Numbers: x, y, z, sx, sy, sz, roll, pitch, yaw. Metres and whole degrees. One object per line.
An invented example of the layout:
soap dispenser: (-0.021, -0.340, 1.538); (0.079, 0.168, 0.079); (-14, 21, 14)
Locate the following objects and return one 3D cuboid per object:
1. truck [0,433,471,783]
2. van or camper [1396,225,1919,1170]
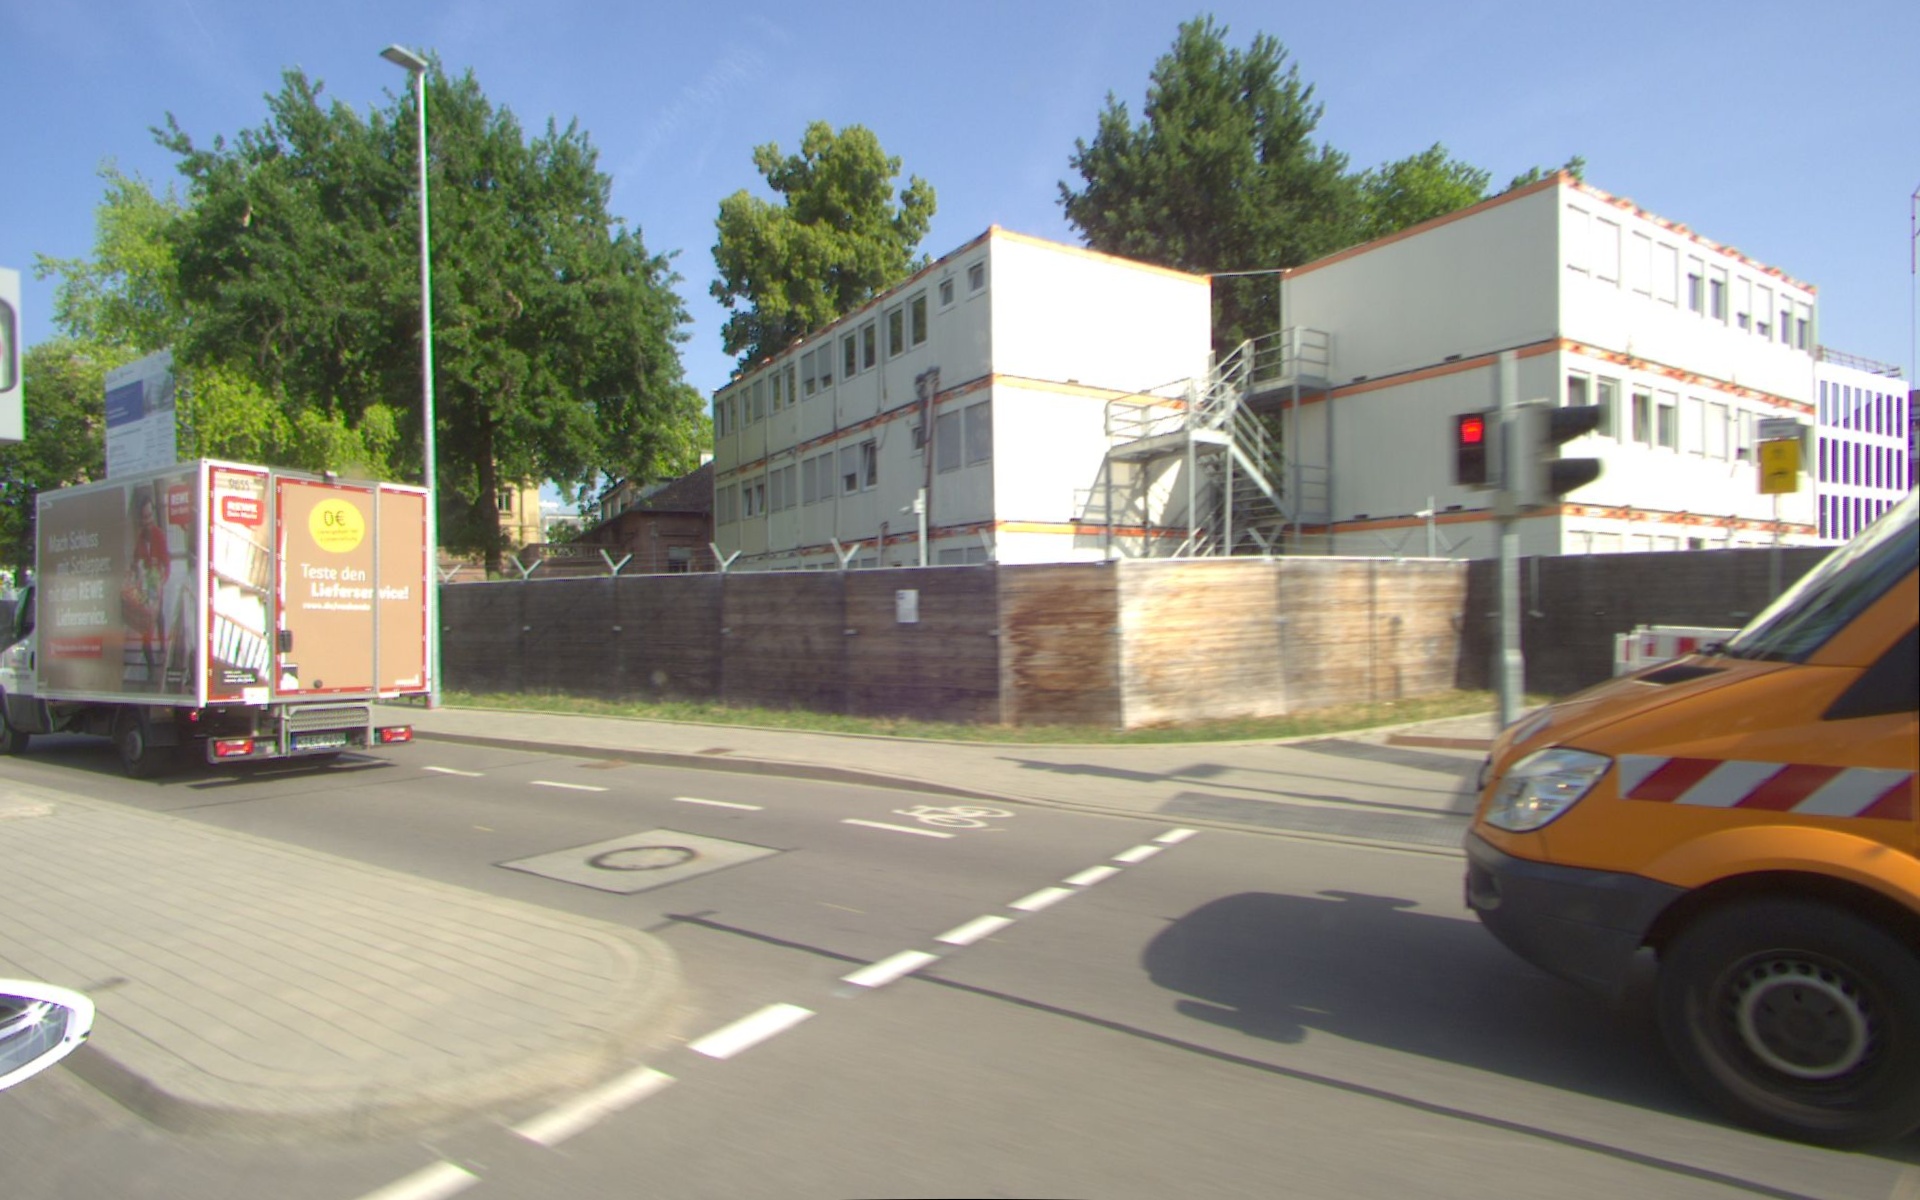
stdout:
truck: (-9.334, 0.204, 11.938); (7.705, 3.099, 2.499); (-1, -2, 31)
van or camper: (4.495, 0.266, 2.558); (5.976, 2.504, 1.982); (-1, -2, 33)
